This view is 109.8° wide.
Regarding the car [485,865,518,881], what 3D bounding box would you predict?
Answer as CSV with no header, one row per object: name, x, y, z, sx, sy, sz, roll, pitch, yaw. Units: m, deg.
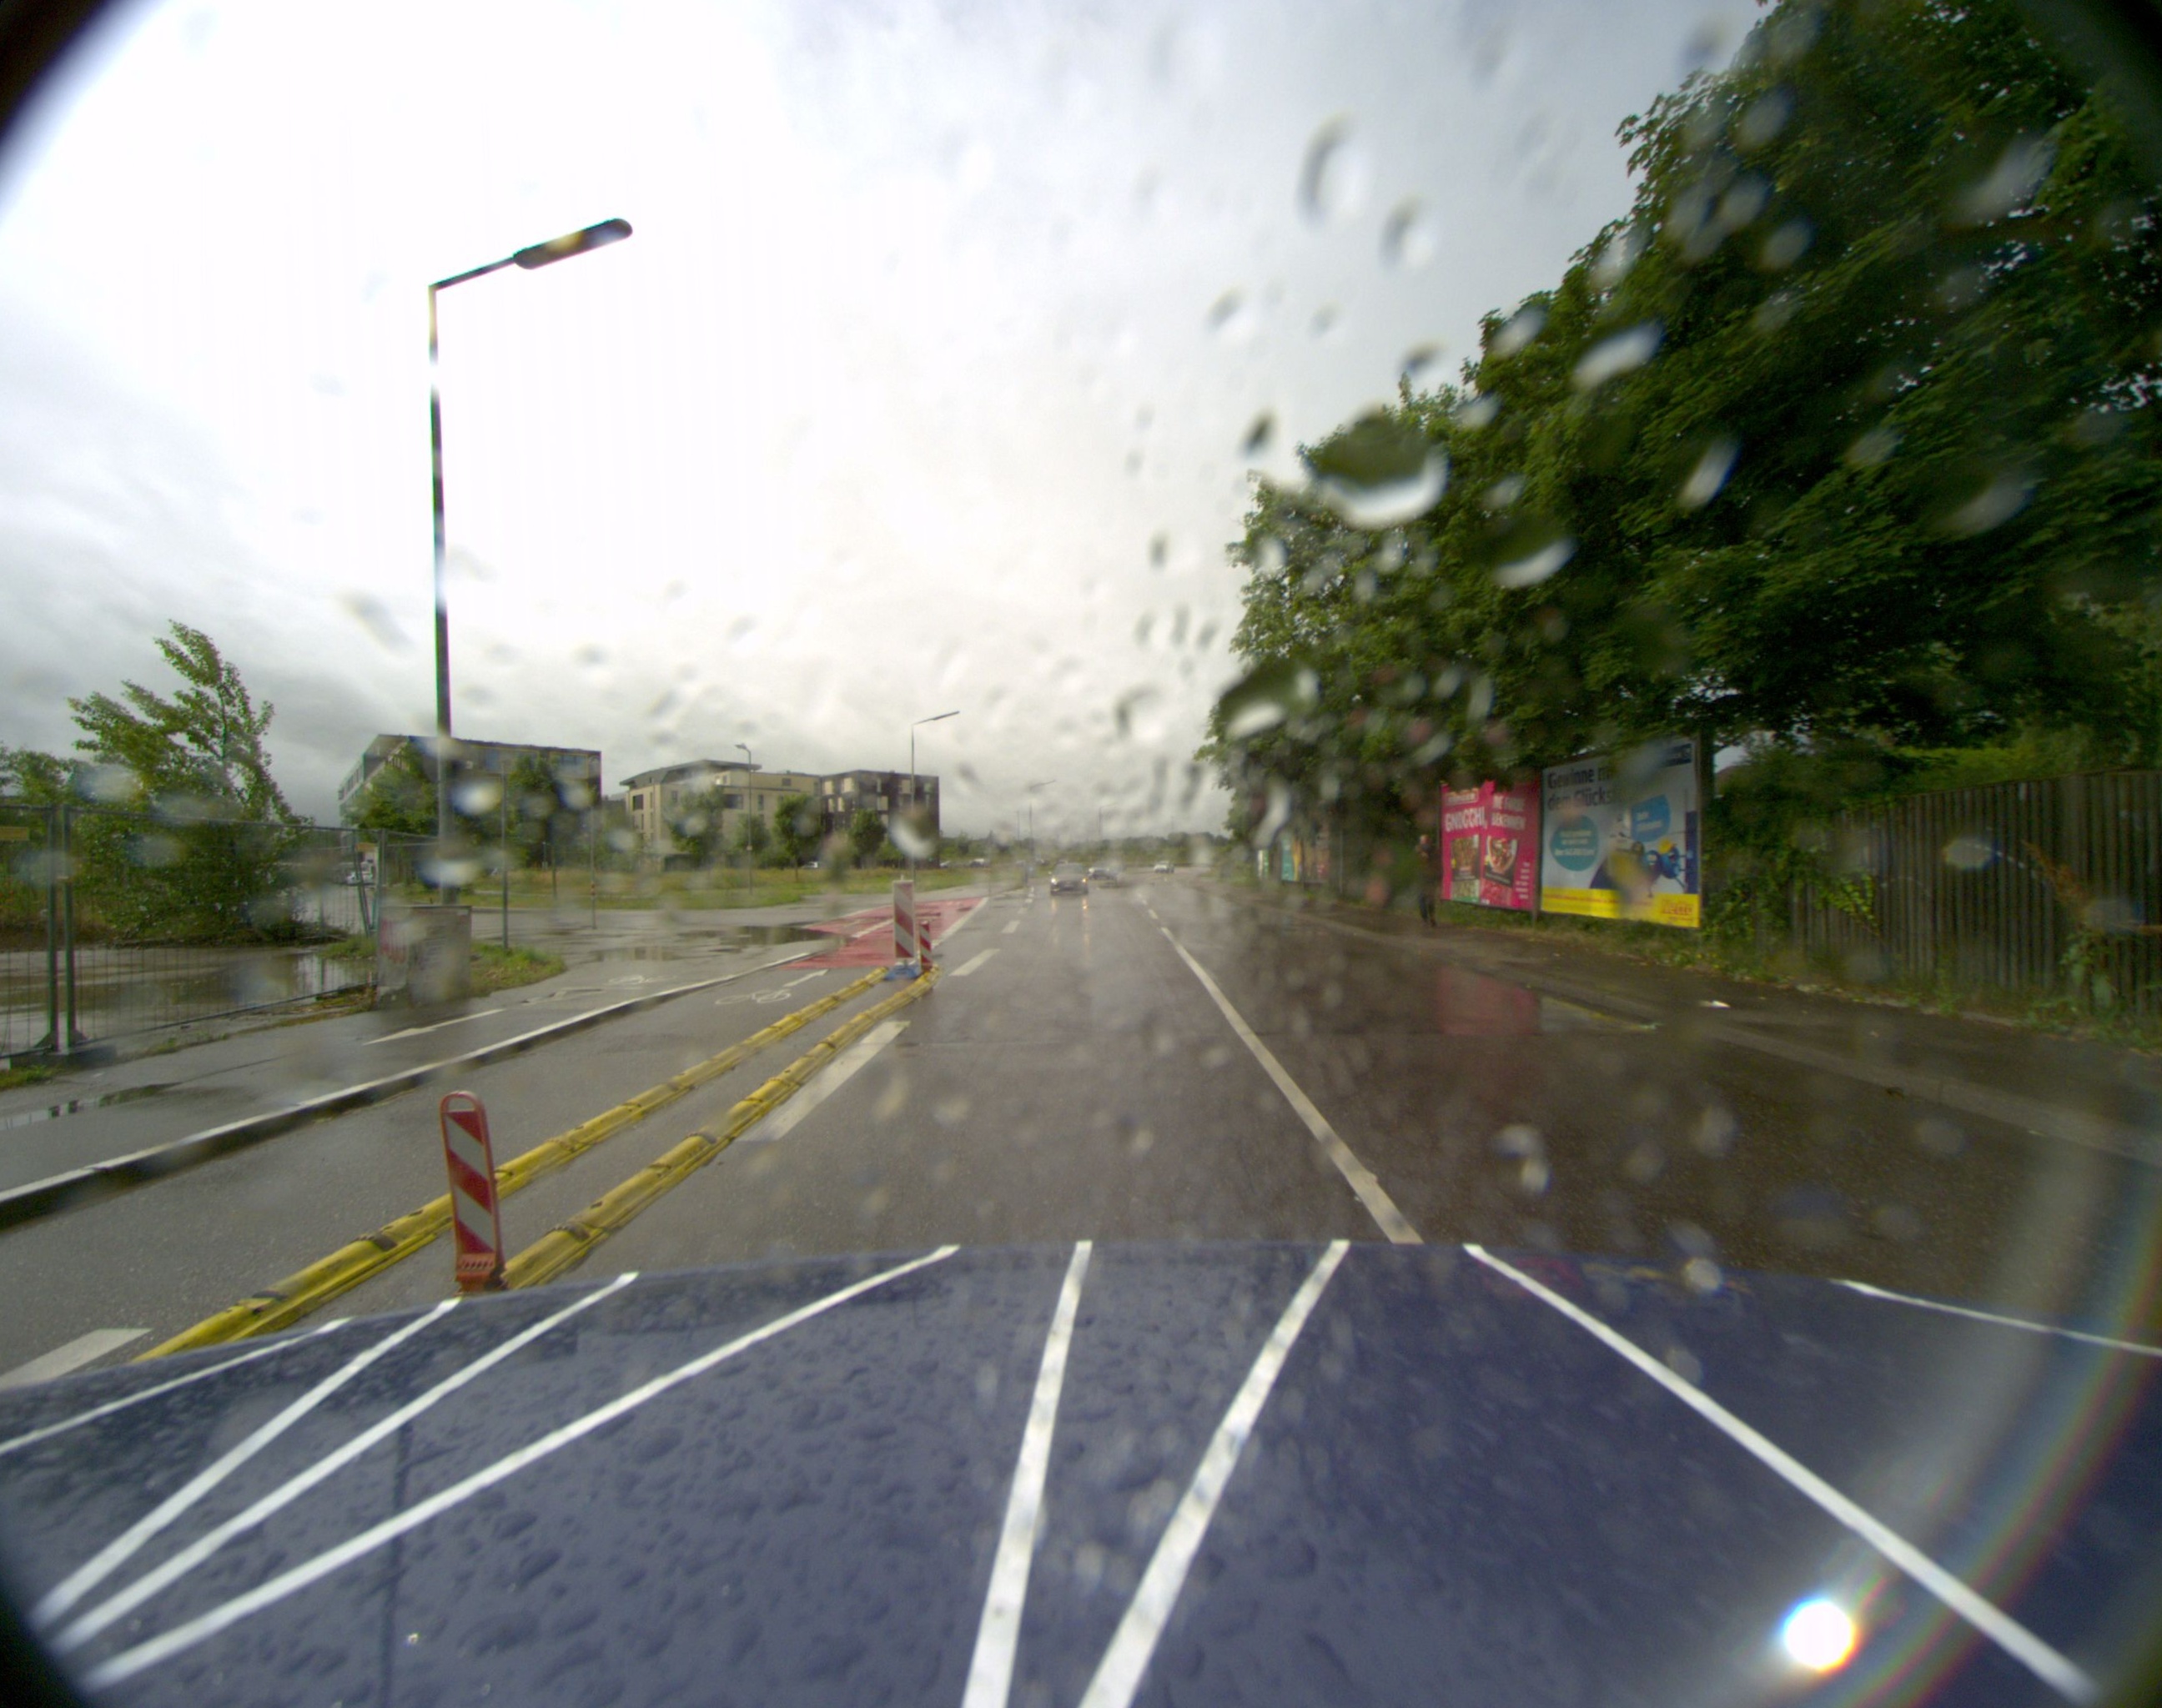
car,-60.376,1.941,79.148,3.658,1.573,1.652,-1,0,36

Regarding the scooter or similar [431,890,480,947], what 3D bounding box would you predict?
scooter or similar,-13.602,1.383,16.515,1.191,1.143,0.484,-1,1,34

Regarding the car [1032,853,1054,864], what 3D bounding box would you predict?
car,-7.229,0.804,145.673,3.989,2.002,2.004,-1,0,43

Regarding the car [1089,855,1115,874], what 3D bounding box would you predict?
car,1.891,0.935,67.276,1.646,1.623,3.671,-1,0,11

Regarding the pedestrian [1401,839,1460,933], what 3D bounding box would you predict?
pedestrian,6.632,0.594,14.449,0.841,1.759,0.644,0,1,1

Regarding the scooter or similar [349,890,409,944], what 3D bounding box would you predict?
scooter or similar,-16.248,1.438,17.589,1.191,1.143,0.748,-1,0,34

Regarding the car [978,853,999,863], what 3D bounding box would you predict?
car,-19.088,0.848,156.738,4.008,2.002,1.994,-1,0,-43

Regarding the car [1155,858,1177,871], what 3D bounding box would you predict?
car,11.429,1.414,101.552,1.794,1.623,3.825,-1,0,25

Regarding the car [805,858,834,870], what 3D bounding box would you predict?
car,-35.806,1.414,104.237,1.644,1.573,3.674,-1,0,25

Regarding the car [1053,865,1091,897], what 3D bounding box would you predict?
car,-0.439,1.272,36.845,1.724,1.423,3.818,-1,0,-1

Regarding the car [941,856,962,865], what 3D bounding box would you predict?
car,-25.210,1.289,147.764,3.657,1.601,1.596,-1,0,-39
